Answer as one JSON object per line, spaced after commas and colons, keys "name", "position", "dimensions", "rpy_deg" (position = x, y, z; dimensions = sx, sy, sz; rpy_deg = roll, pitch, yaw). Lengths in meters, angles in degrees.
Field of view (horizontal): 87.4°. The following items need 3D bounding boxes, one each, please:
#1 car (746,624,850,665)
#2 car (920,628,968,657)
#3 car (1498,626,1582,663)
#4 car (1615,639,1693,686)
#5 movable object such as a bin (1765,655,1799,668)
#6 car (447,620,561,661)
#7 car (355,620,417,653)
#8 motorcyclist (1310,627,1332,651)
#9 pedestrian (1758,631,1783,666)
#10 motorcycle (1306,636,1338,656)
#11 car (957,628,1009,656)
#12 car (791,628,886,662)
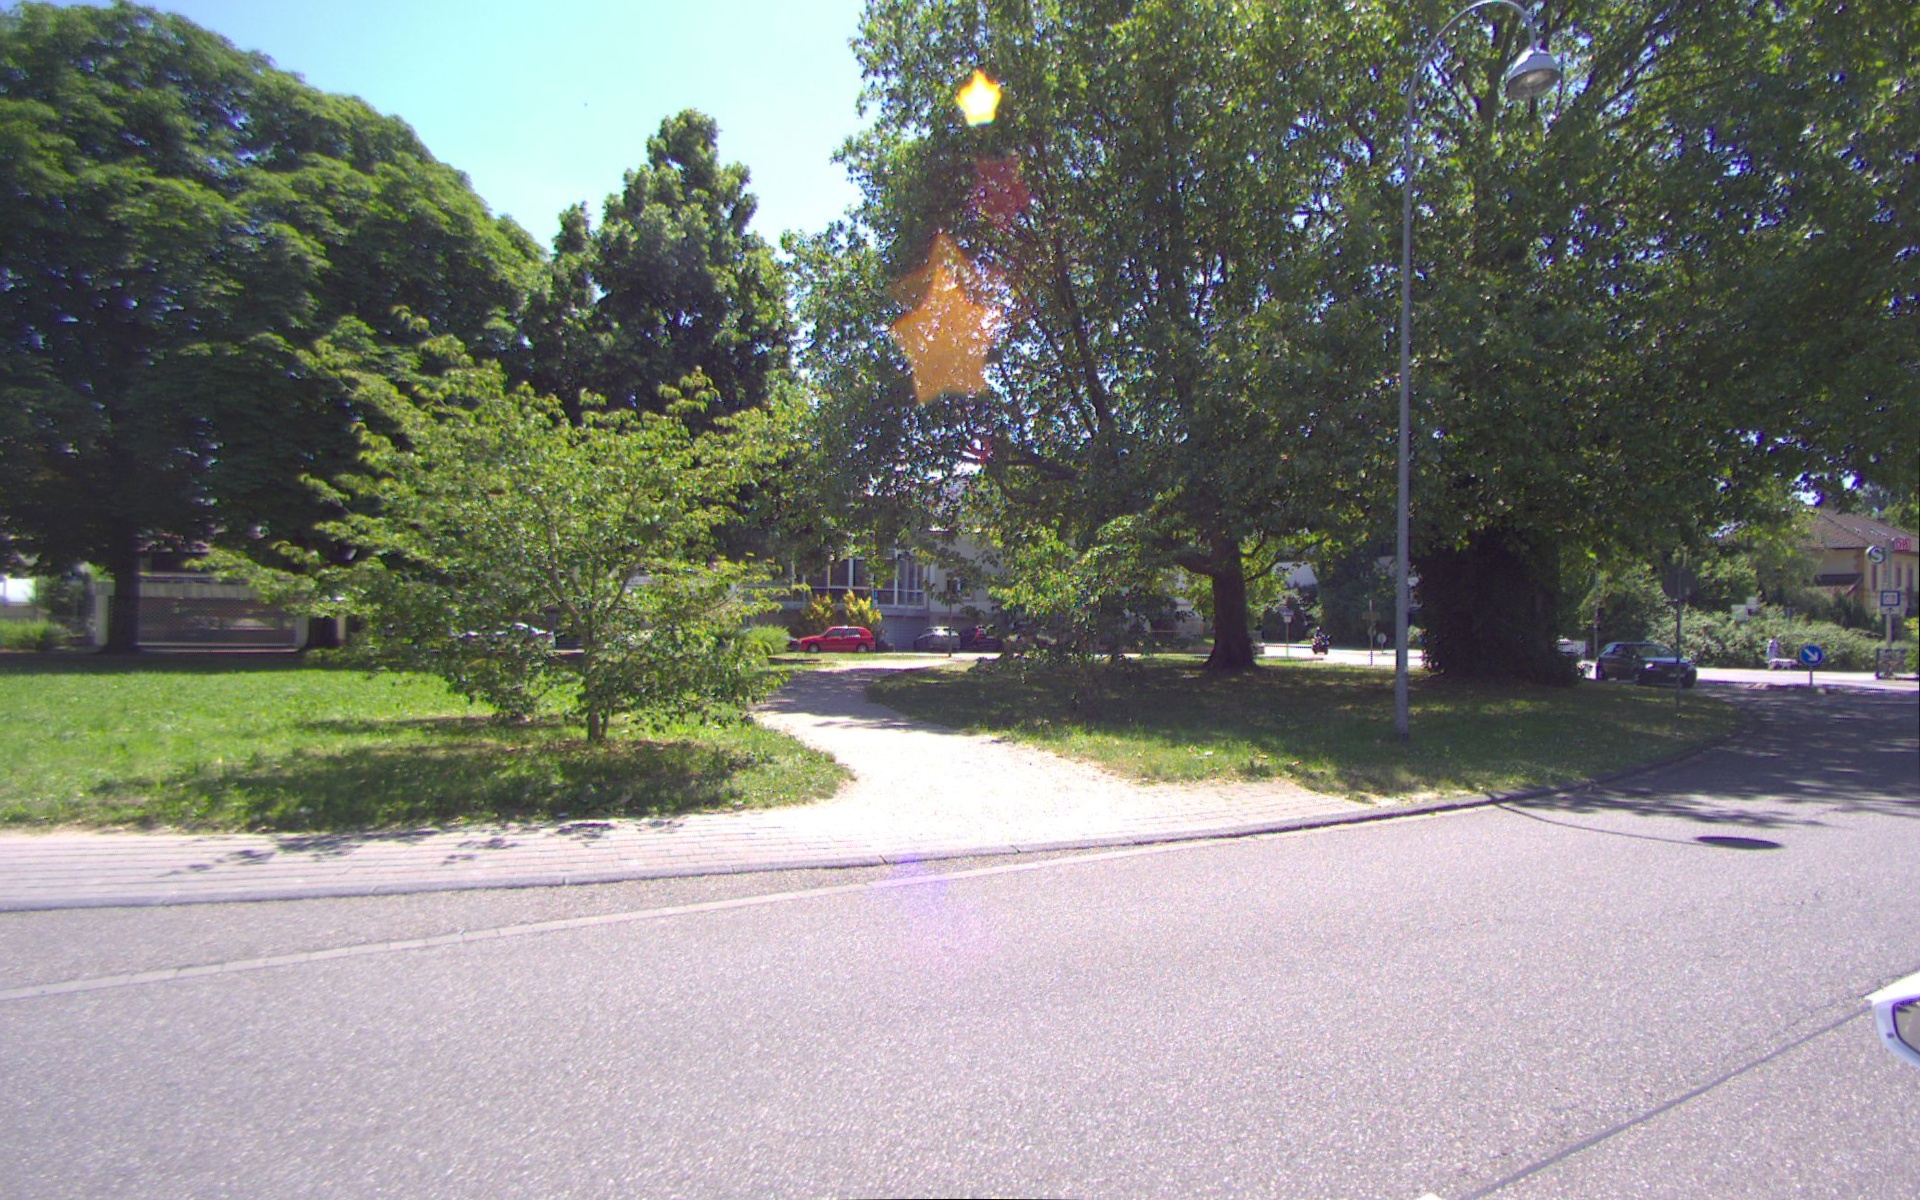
{"name": "car", "position": [-7.558, 2.063, 46.829], "dimensions": [4.443, 1.802, 1.989], "rpy_deg": [1, -1, -23]}
{"name": "car", "position": [-0.941, 2.370, 56.753], "dimensions": [1.849, 1.453, 3.990], "rpy_deg": [2, -1, -13]}
{"name": "car", "position": [30.461, 2.337, 52.921], "dimensions": [1.904, 1.634, 4.474], "rpy_deg": [7, -2, 3]}
{"name": "car", "position": [23.083, 2.046, 33.534], "dimensions": [1.616, 1.436, 3.995], "rpy_deg": [-2, -2, 27]}
{"name": "movable object such as a bin", "position": [38.981, 2.919, 47.644], "dimensions": [1.218, 0.602, 0.517], "rpy_deg": [1, -1, -1]}
{"name": "car", "position": [-20.792, 1.841, 45.989], "dimensions": [4.432, 1.802, 1.993], "rpy_deg": [1, -1, -16]}
{"name": "car", "position": [-29.869, 1.889, 52.386], "dimensions": [1.969, 1.606, 3.984], "rpy_deg": [1, -1, -18]}
{"name": "motorcyclist", "position": [23.970, 2.593, 66.664], "dimensions": [0.800, 1.576, 1.096], "rpy_deg": [1, -1, -28]}
{"name": "pedestrian", "position": [39.056, 2.324, 48.410], "dimensions": [0.605, 1.649, 0.700], "rpy_deg": [1, 0, 3]}
{"name": "motorcycle", "position": [23.991, 3.055, 66.600], "dimensions": [0.800, 1.248, 2.036], "rpy_deg": [1, -2, -28]}
{"name": "car", "position": [1.305, 2.419, 58.551], "dimensions": [1.967, 1.445, 3.988], "rpy_deg": [2, -1, -15]}
{"name": "car", "position": [-6.112, 2.241, 50.559], "dimensions": [4.436, 1.639, 1.992], "rpy_deg": [1, -1, -19]}
